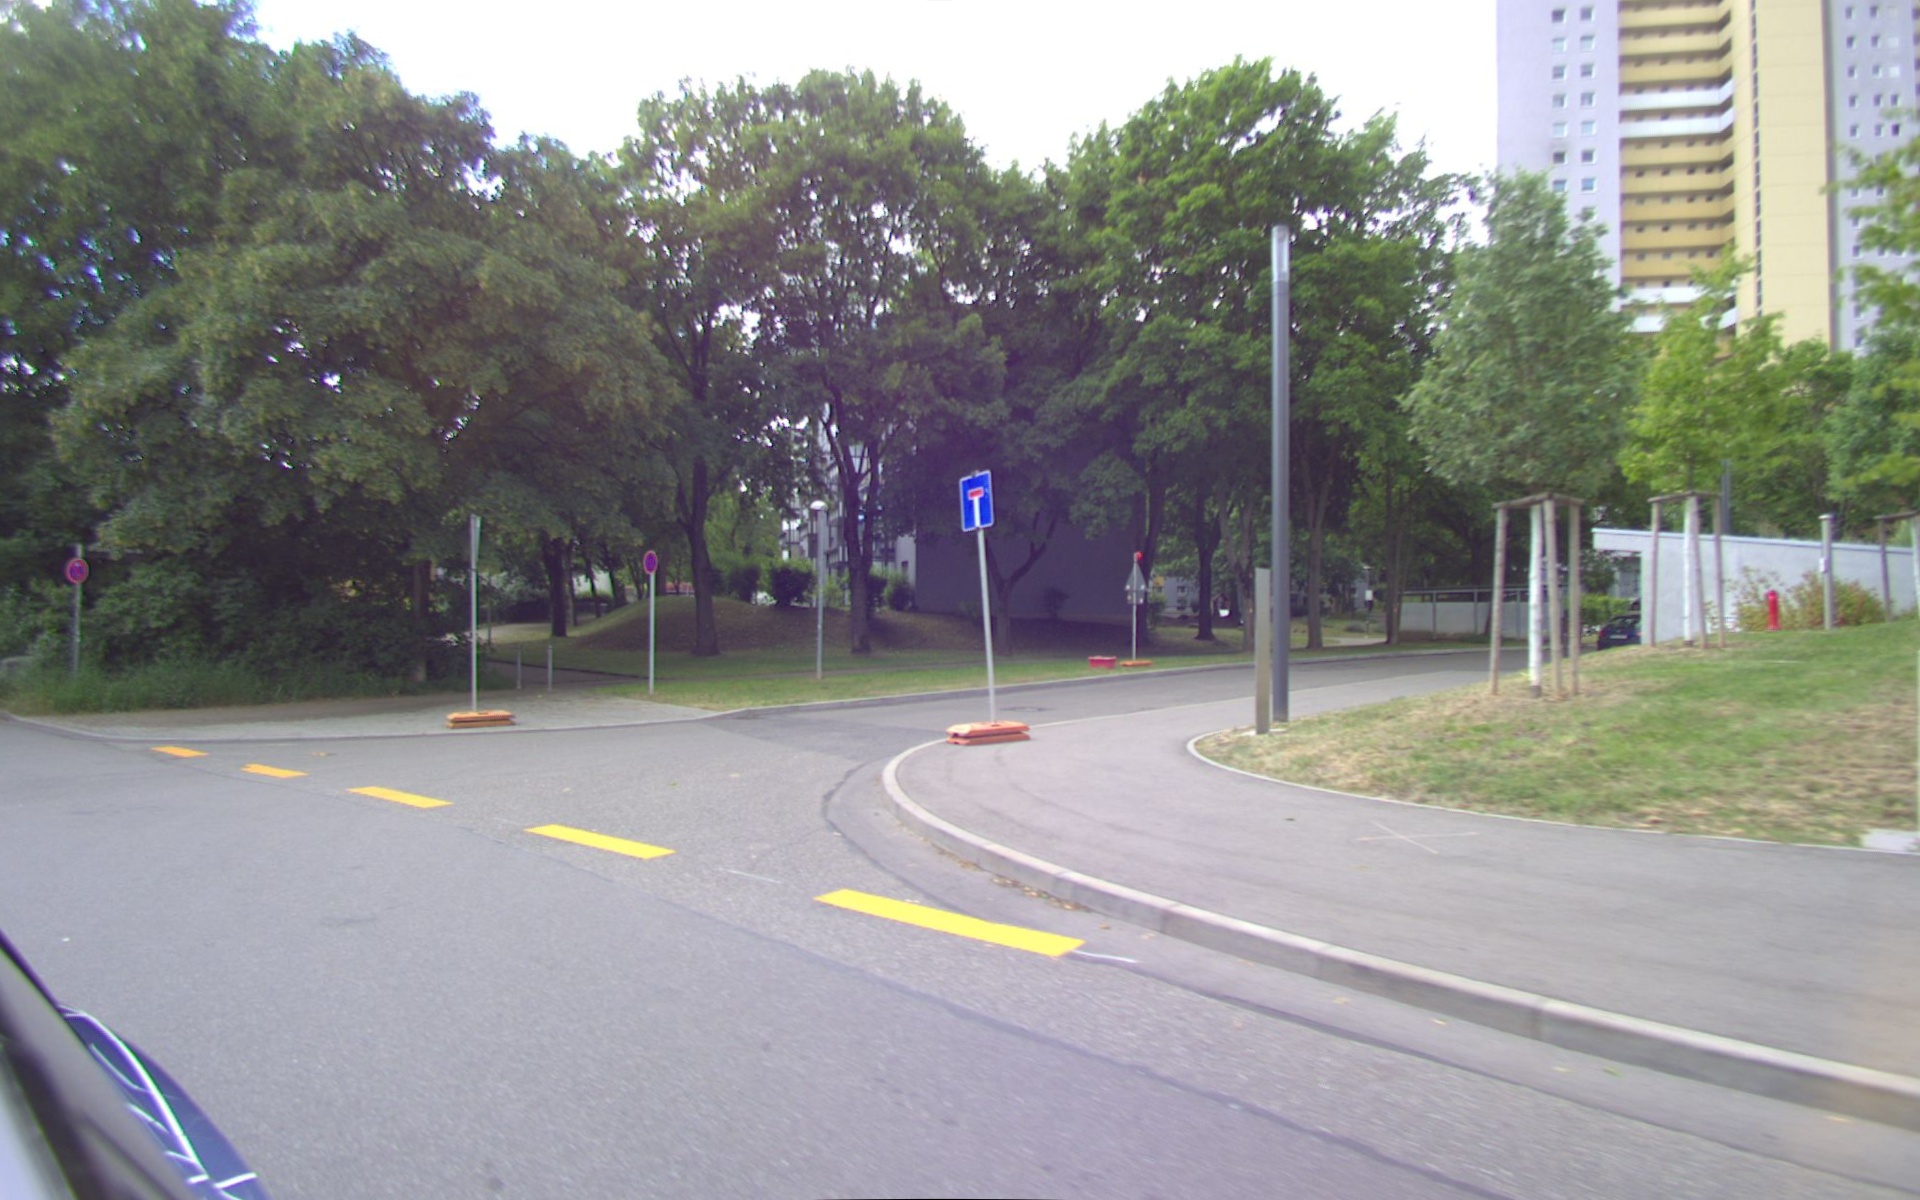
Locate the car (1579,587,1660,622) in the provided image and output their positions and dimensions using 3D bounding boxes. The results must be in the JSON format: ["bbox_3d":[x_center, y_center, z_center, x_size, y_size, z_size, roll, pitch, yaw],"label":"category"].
[{"bbox_3d":[36.867,0.286,56.678,3.605,1.882,1.484,-1,-2,29],"label":"car"}]

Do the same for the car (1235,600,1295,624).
[{"bbox_3d":[23.717,0.929,78.860,4.194,1.780,2.205,-1,-2,10],"label":"car"}]

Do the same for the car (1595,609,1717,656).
[{"bbox_3d":[21.883,0.992,31.815,3.558,1.383,1.504,0,-2,-25],"label":"car"}]

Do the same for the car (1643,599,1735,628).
[{"bbox_3d":[37.126,0.695,51.660,3.605,1.383,1.484,-1,-2,29],"label":"car"}]

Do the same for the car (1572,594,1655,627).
[{"bbox_3d":[35.159,0.575,54.541,3.605,1.676,1.484,-1,-2,29],"label":"car"}]
